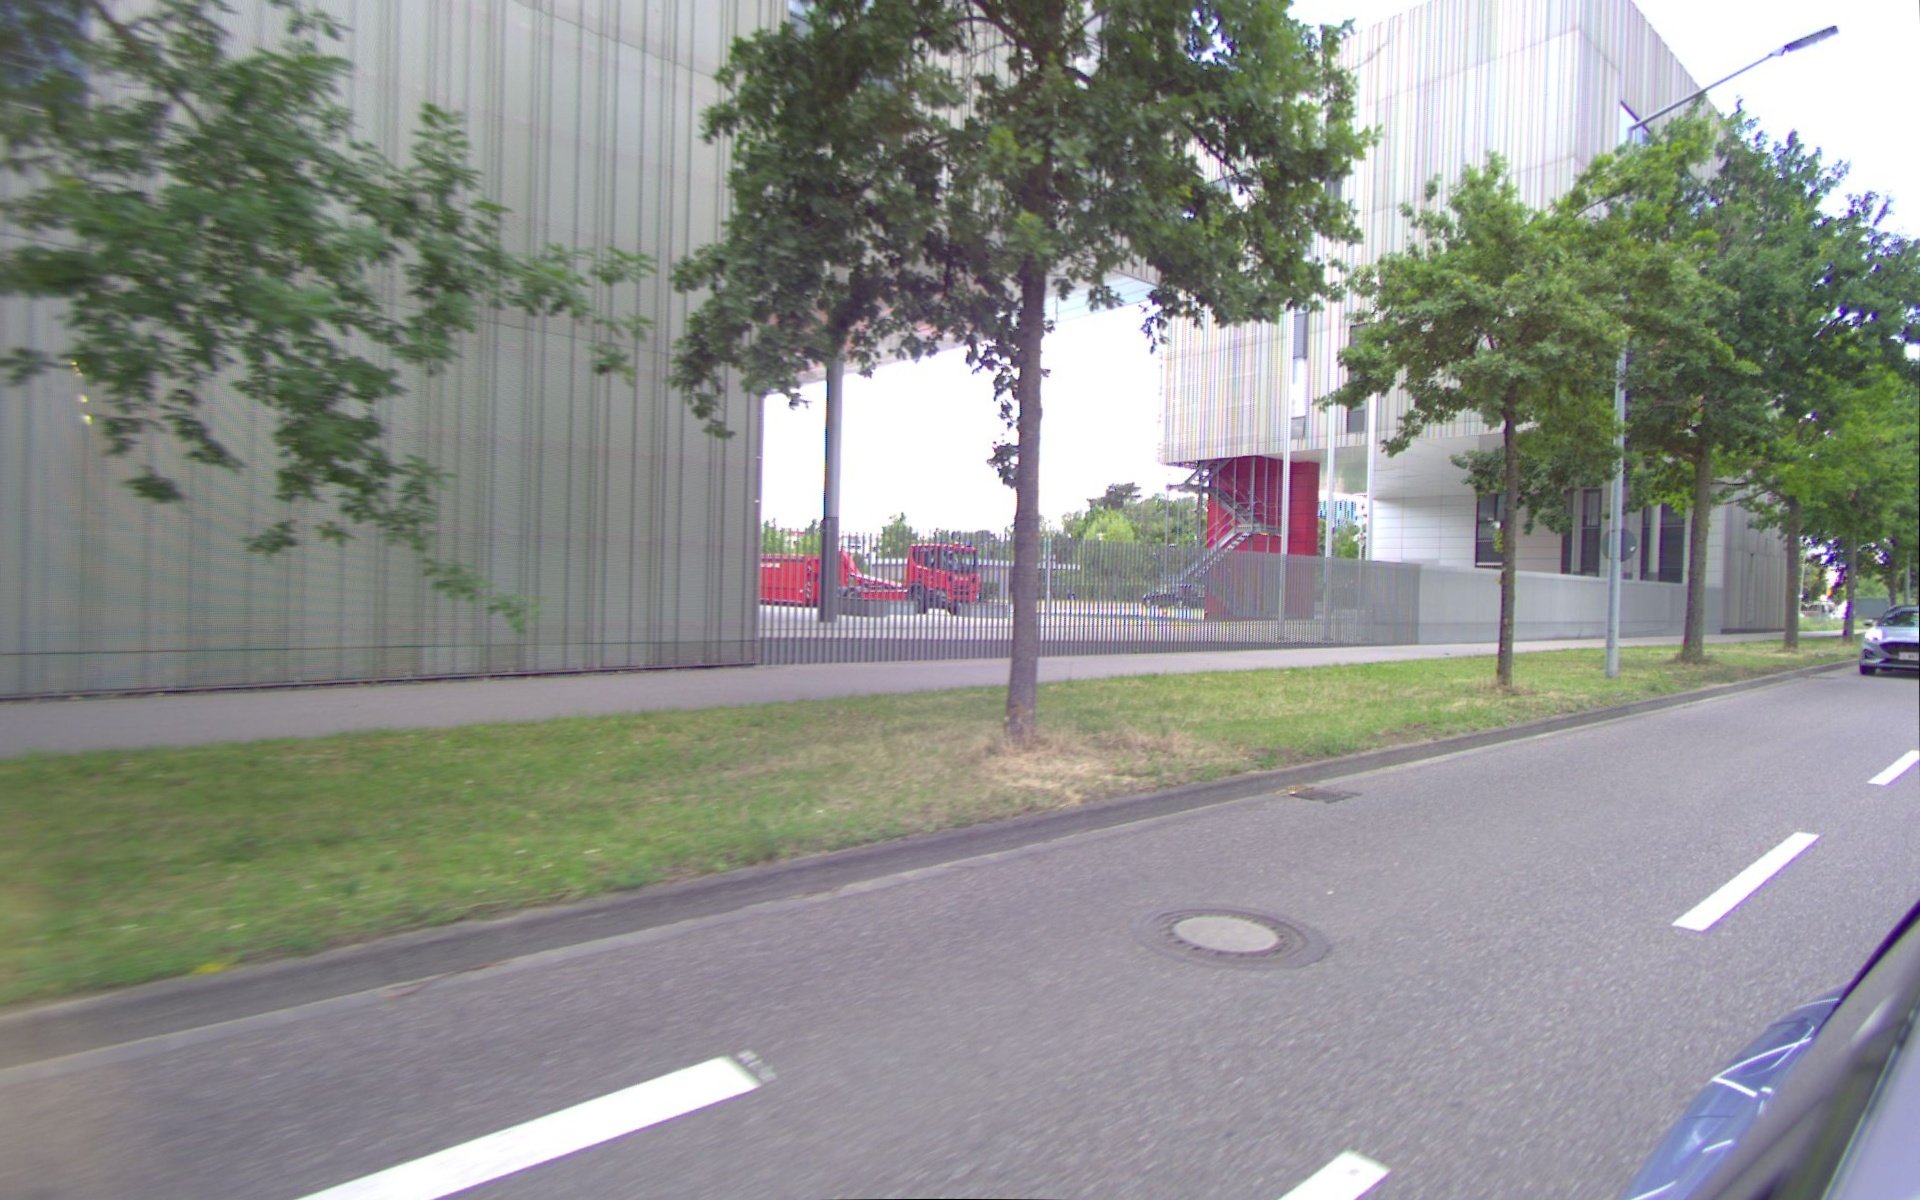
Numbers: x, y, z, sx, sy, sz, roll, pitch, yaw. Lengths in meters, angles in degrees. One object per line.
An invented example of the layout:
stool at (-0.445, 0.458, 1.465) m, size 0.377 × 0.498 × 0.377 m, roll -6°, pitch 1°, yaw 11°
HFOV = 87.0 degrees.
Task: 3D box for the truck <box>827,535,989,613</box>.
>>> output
truck at (-2.393, -1.046, 43.419) m, size 2.494 × 3.040 × 7.782 m, roll 0°, pitch 0°, yaw -44°

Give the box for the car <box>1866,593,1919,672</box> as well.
car at (20.859, 0.660, 21.554) m, size 3.884 × 1.594 × 1.822 m, roll 0°, pitch -1°, yaw -41°
